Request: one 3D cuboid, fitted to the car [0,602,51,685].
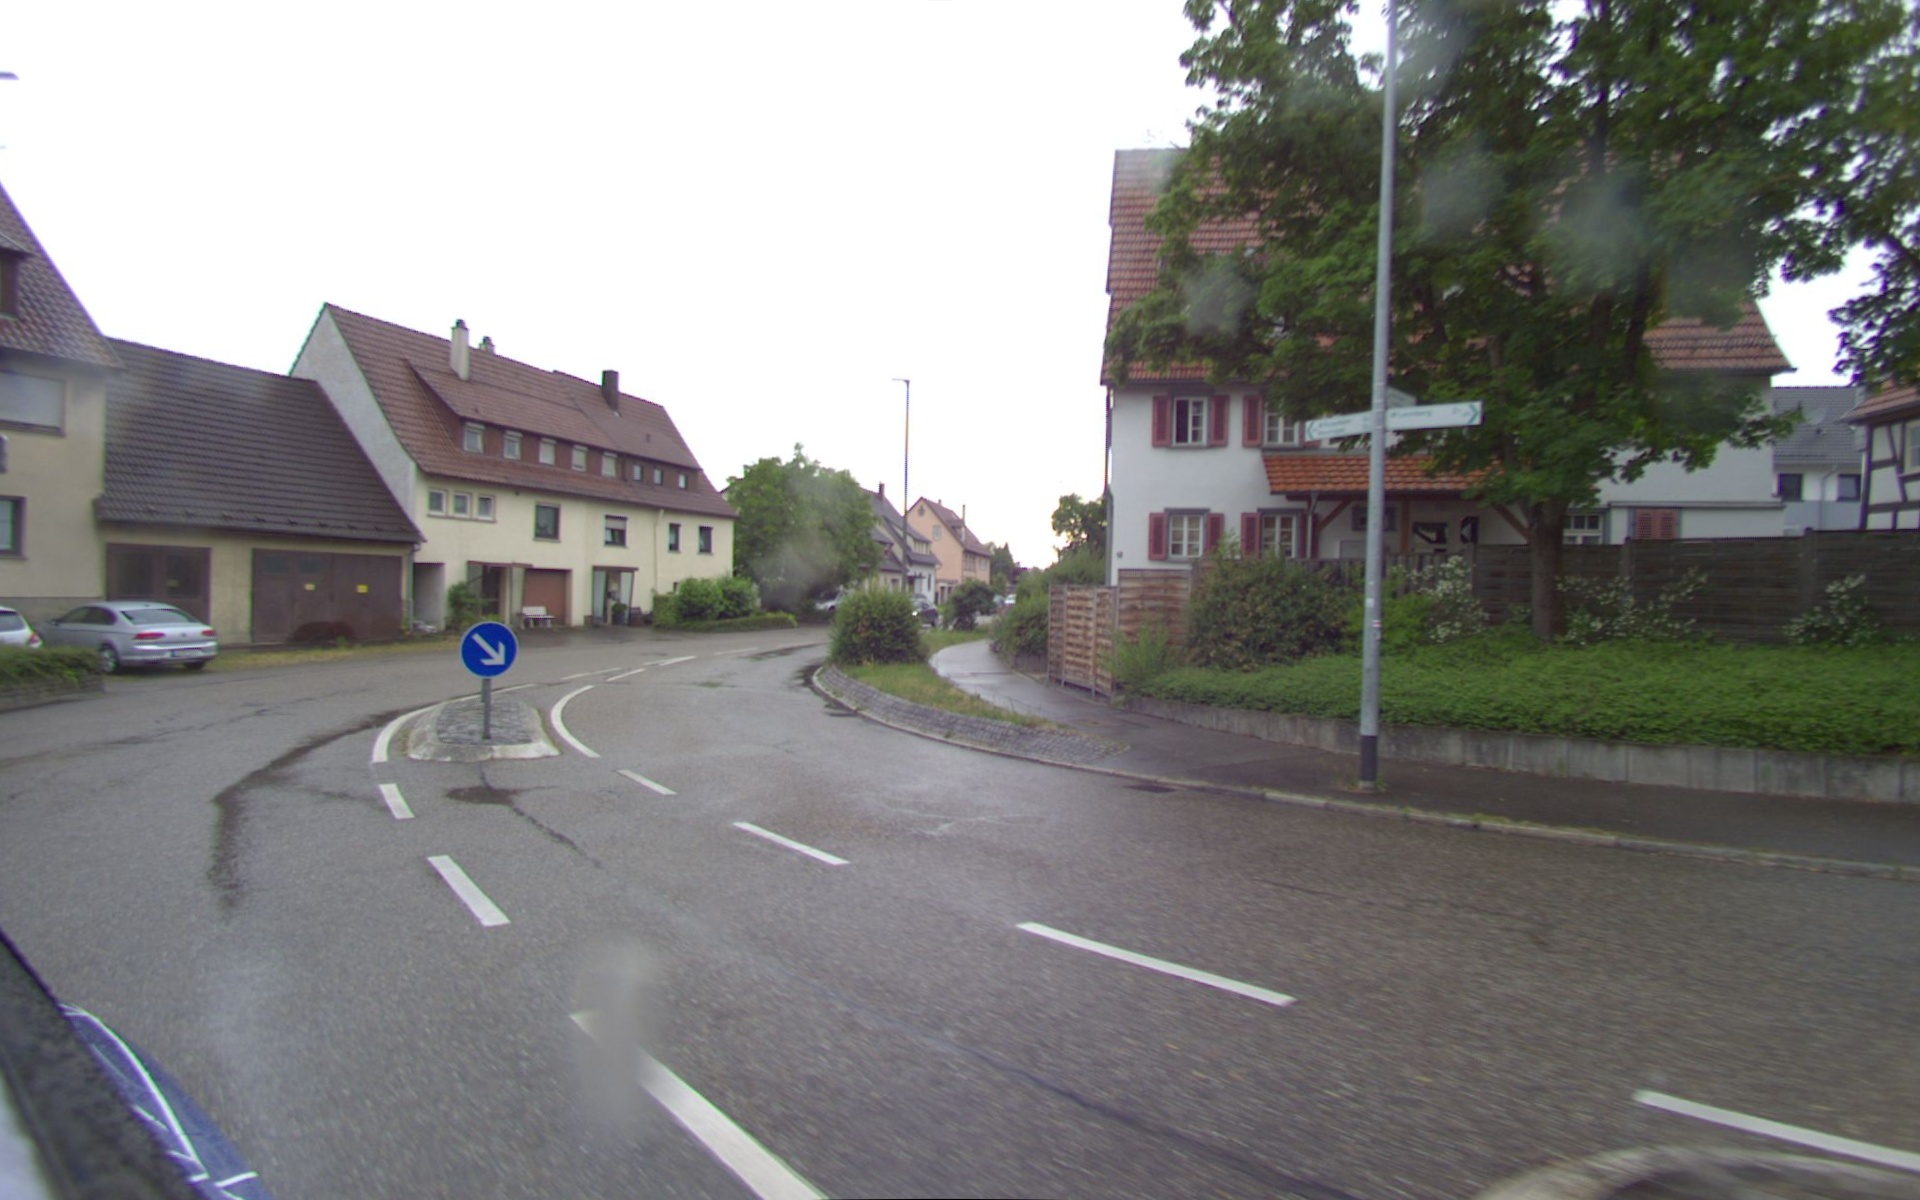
[{"bbox_3d":[-19.625,0.838,19.486,3.404,1.541,1.708,0,1,19],"label":"car"}]

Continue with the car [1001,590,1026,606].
[{"bbox_3d":[5.286,-0.225,99.115,1.978,1.541,3.987,-1,0,10],"label":"car"}]

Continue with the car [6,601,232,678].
[{"bbox_3d":[-18.379,0.796,22.116,4.594,1.425,1.808,1,1,21],"label":"car"}]

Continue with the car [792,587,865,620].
[{"bbox_3d":[-7.382,0.171,57.291,1.905,1.724,4.437,1,1,28],"label":"car"}]
